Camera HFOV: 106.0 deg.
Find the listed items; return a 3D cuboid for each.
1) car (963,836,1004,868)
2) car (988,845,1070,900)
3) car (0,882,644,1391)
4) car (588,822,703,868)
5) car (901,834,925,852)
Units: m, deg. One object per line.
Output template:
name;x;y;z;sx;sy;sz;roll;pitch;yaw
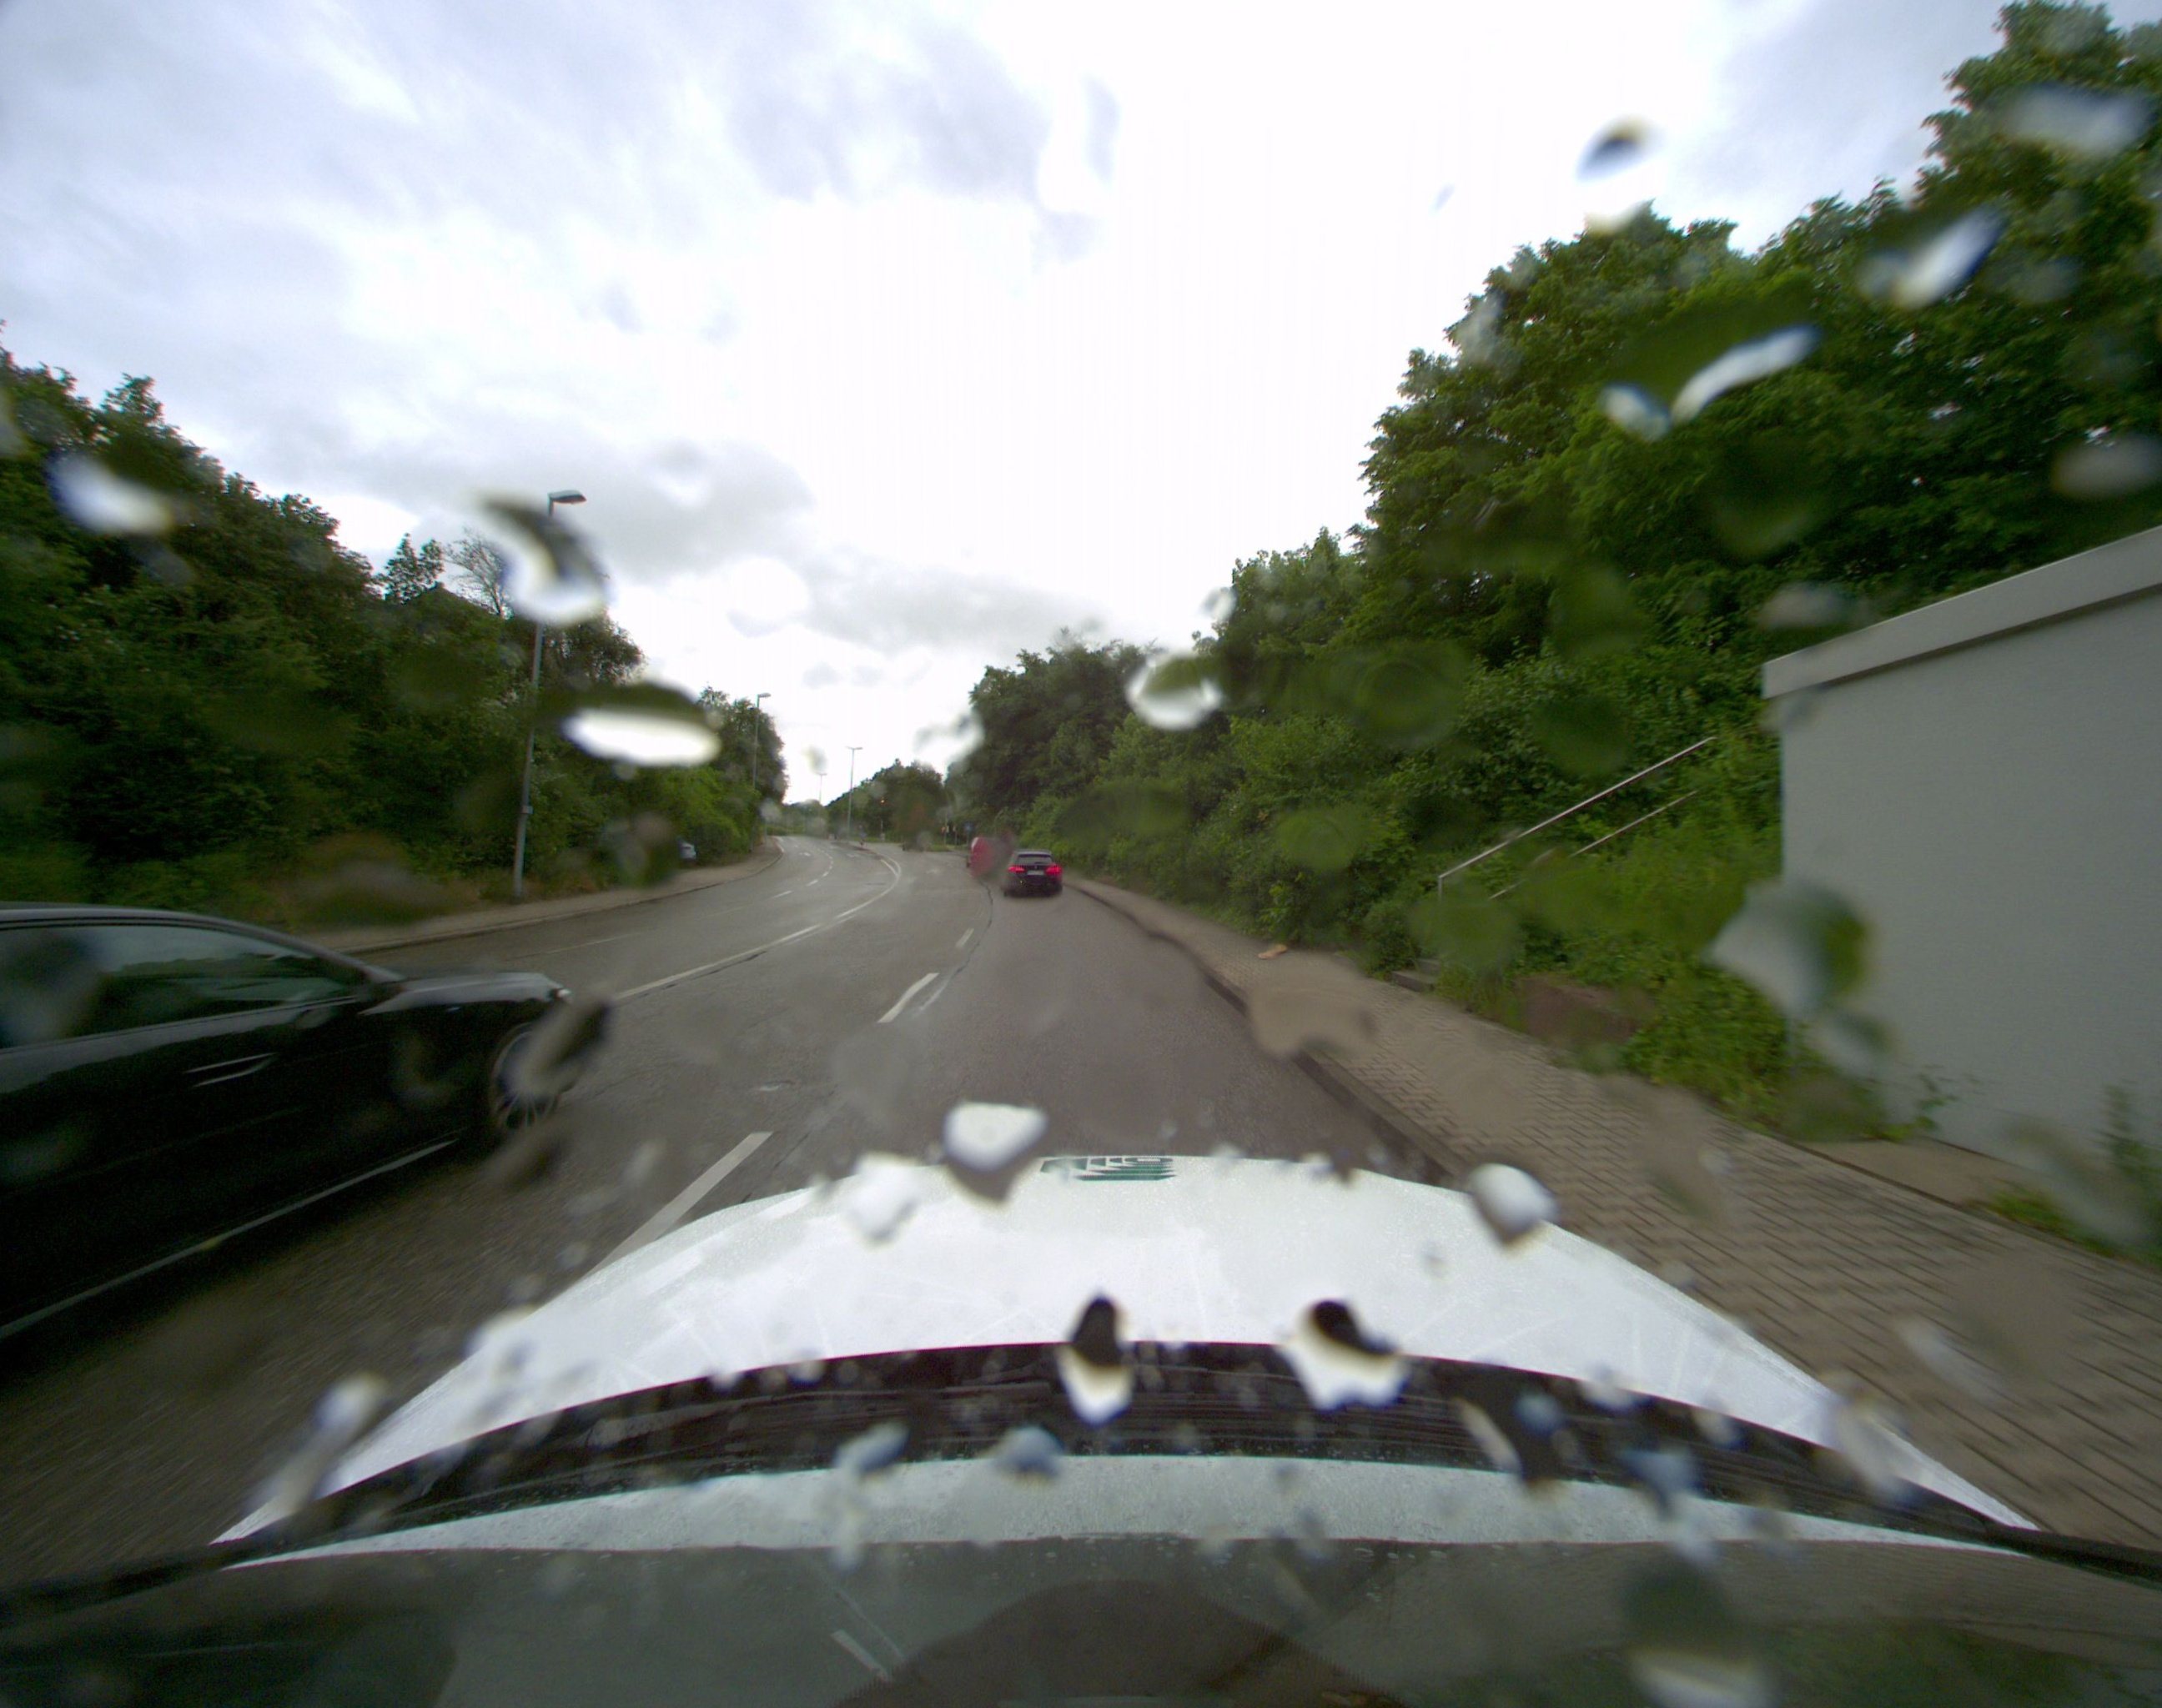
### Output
car;-5.709;-0.147;47.181;1.995;1.748;3.983;0;1;-12
car;-1.849;0.553;27.413;1.995;1.586;4.643;2;1;-13
car;-3.931;0.811;2.925;1.898;1.398;4.858;0;-2;2
car;-19.002;-0.374;35.701;3.996;1.447;1.845;8;-1;-17
car;-17.426;-1.095;84.268;1.857;1.662;3.972;2;-3;-20
